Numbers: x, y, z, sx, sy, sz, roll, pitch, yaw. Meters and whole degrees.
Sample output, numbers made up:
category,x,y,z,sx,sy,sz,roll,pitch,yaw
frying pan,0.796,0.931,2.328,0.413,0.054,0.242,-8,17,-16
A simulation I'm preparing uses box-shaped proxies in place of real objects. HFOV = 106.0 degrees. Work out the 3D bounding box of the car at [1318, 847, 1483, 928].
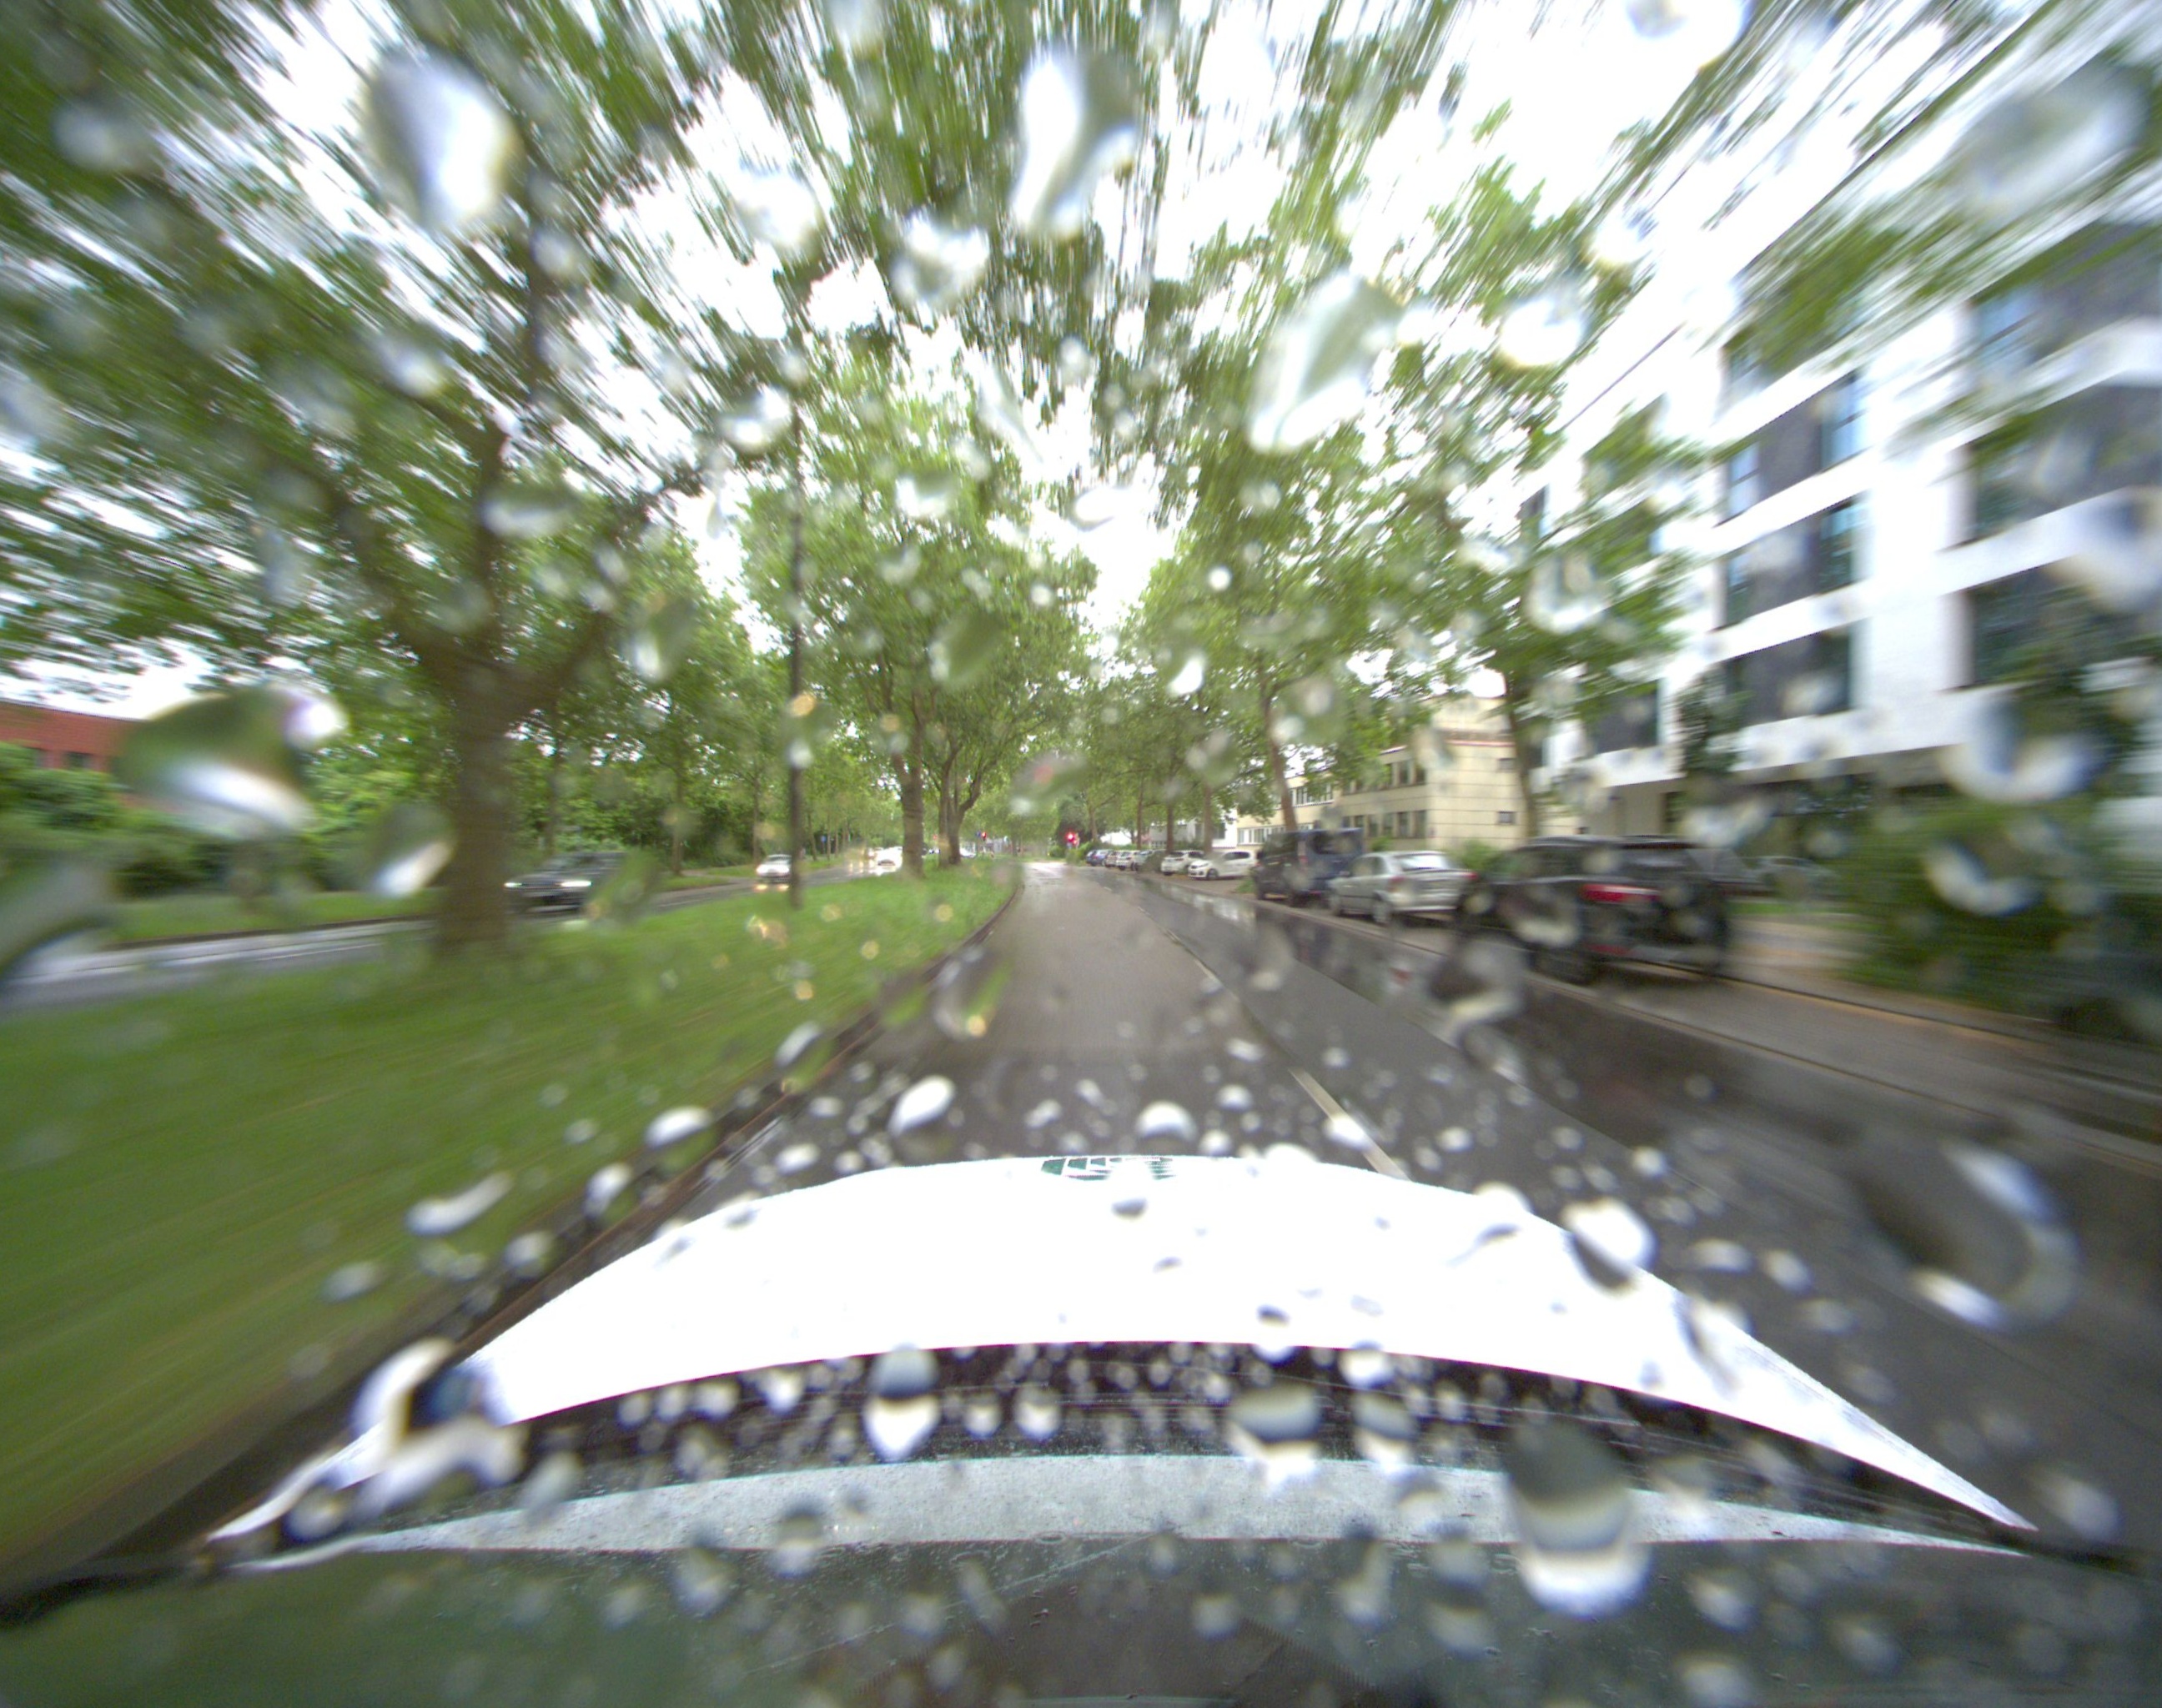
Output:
category,x,y,z,sx,sy,sz,roll,pitch,yaw
car,6.431,0.598,16.948,1.738,1.469,4.304,0,0,-1

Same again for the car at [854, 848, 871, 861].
category,x,y,z,sx,sy,sz,roll,pitch,yaw
car,-29.457,0.071,109.944,1.743,1.591,4.196,0,1,-10

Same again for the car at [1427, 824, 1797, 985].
category,x,y,z,sx,sy,sz,roll,pitch,yaw
car,6.107,0.485,10.124,1.738,1.566,4.370,0,0,-1

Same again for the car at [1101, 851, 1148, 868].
category,x,y,z,sx,sy,sz,roll,pitch,yaw
car,3.646,0.459,67.797,3.709,1.416,1.730,0,0,-36

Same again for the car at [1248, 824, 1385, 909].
category,x,y,z,sx,sy,sz,roll,pitch,yaw
car,6.207,0.299,22.287,2.115,2.028,5.526,0,0,-1

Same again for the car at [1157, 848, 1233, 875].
category,x,y,z,sx,sy,sz,roll,pitch,yaw
car,6.247,0.396,44.534,4.056,1.428,1.730,0,0,-36

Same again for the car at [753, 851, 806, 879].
category,x,y,z,sx,sy,sz,roll,pitch,yaw
car,-16.062,0.556,43.514,1.741,1.459,3.834,0,0,-6

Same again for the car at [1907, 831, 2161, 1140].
category,x,y,z,sx,sy,sz,roll,pitch,yaw
car,5.998,0.631,3.080,1.736,1.476,4.085,0,0,2

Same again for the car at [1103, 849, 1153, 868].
category,x,y,z,sx,sy,sz,roll,pitch,yaw
car,3.738,0.359,64.516,3.709,1.416,1.756,0,0,-37

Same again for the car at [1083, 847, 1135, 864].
category,x,y,z,sx,sy,sz,roll,pitch,yaw
car,2.523,0.136,73.450,4.512,1.459,1.731,0,0,-33

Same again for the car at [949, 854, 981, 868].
category,x,y,z,sx,sy,sz,roll,pitch,yaw
car,-14.125,0.789,99.114,1.759,1.650,4.253,0,0,-45

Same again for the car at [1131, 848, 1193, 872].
category,x,y,z,sx,sy,sz,roll,pitch,yaw
car,5.370,0.364,53.904,4.057,1.539,1.729,0,0,-38

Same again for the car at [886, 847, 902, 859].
category,x,y,z,sx,sy,sz,roll,pitch,yaw
car,-25.332,-0.112,110.449,1.743,1.591,4.316,0,0,-10

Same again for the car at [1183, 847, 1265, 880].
category,x,y,z,sx,sy,sz,roll,pitch,yaw
car,7.051,0.440,40.290,3.647,1.504,1.737,-1,1,-20

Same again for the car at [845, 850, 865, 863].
category,x,y,z,sx,sy,sz,roll,pitch,yaw
car,-25.903,0.274,93.348,1.743,1.476,4.069,0,0,-10

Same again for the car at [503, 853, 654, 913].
category,x,y,z,sx,sy,sz,roll,pitch,yaw
car,-14.235,0.746,23.398,1.739,1.561,4.364,0,0,-2

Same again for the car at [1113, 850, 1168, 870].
category,x,y,z,sx,sy,sz,roll,pitch,yaw
car,4.306,0.449,59.006,3.706,1.416,1.731,0,0,-33

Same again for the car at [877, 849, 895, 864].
category,x,y,z,sx,sy,sz,roll,pitch,yaw
car,-20.215,0.273,84.385,1.745,1.476,4.390,0,0,-13

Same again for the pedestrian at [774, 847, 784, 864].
category,x,y,z,sx,sy,sz,roll,pitch,yaw
pedestrian,-28.924,0.155,78.019,0.831,1.674,0.896,0,0,-12
